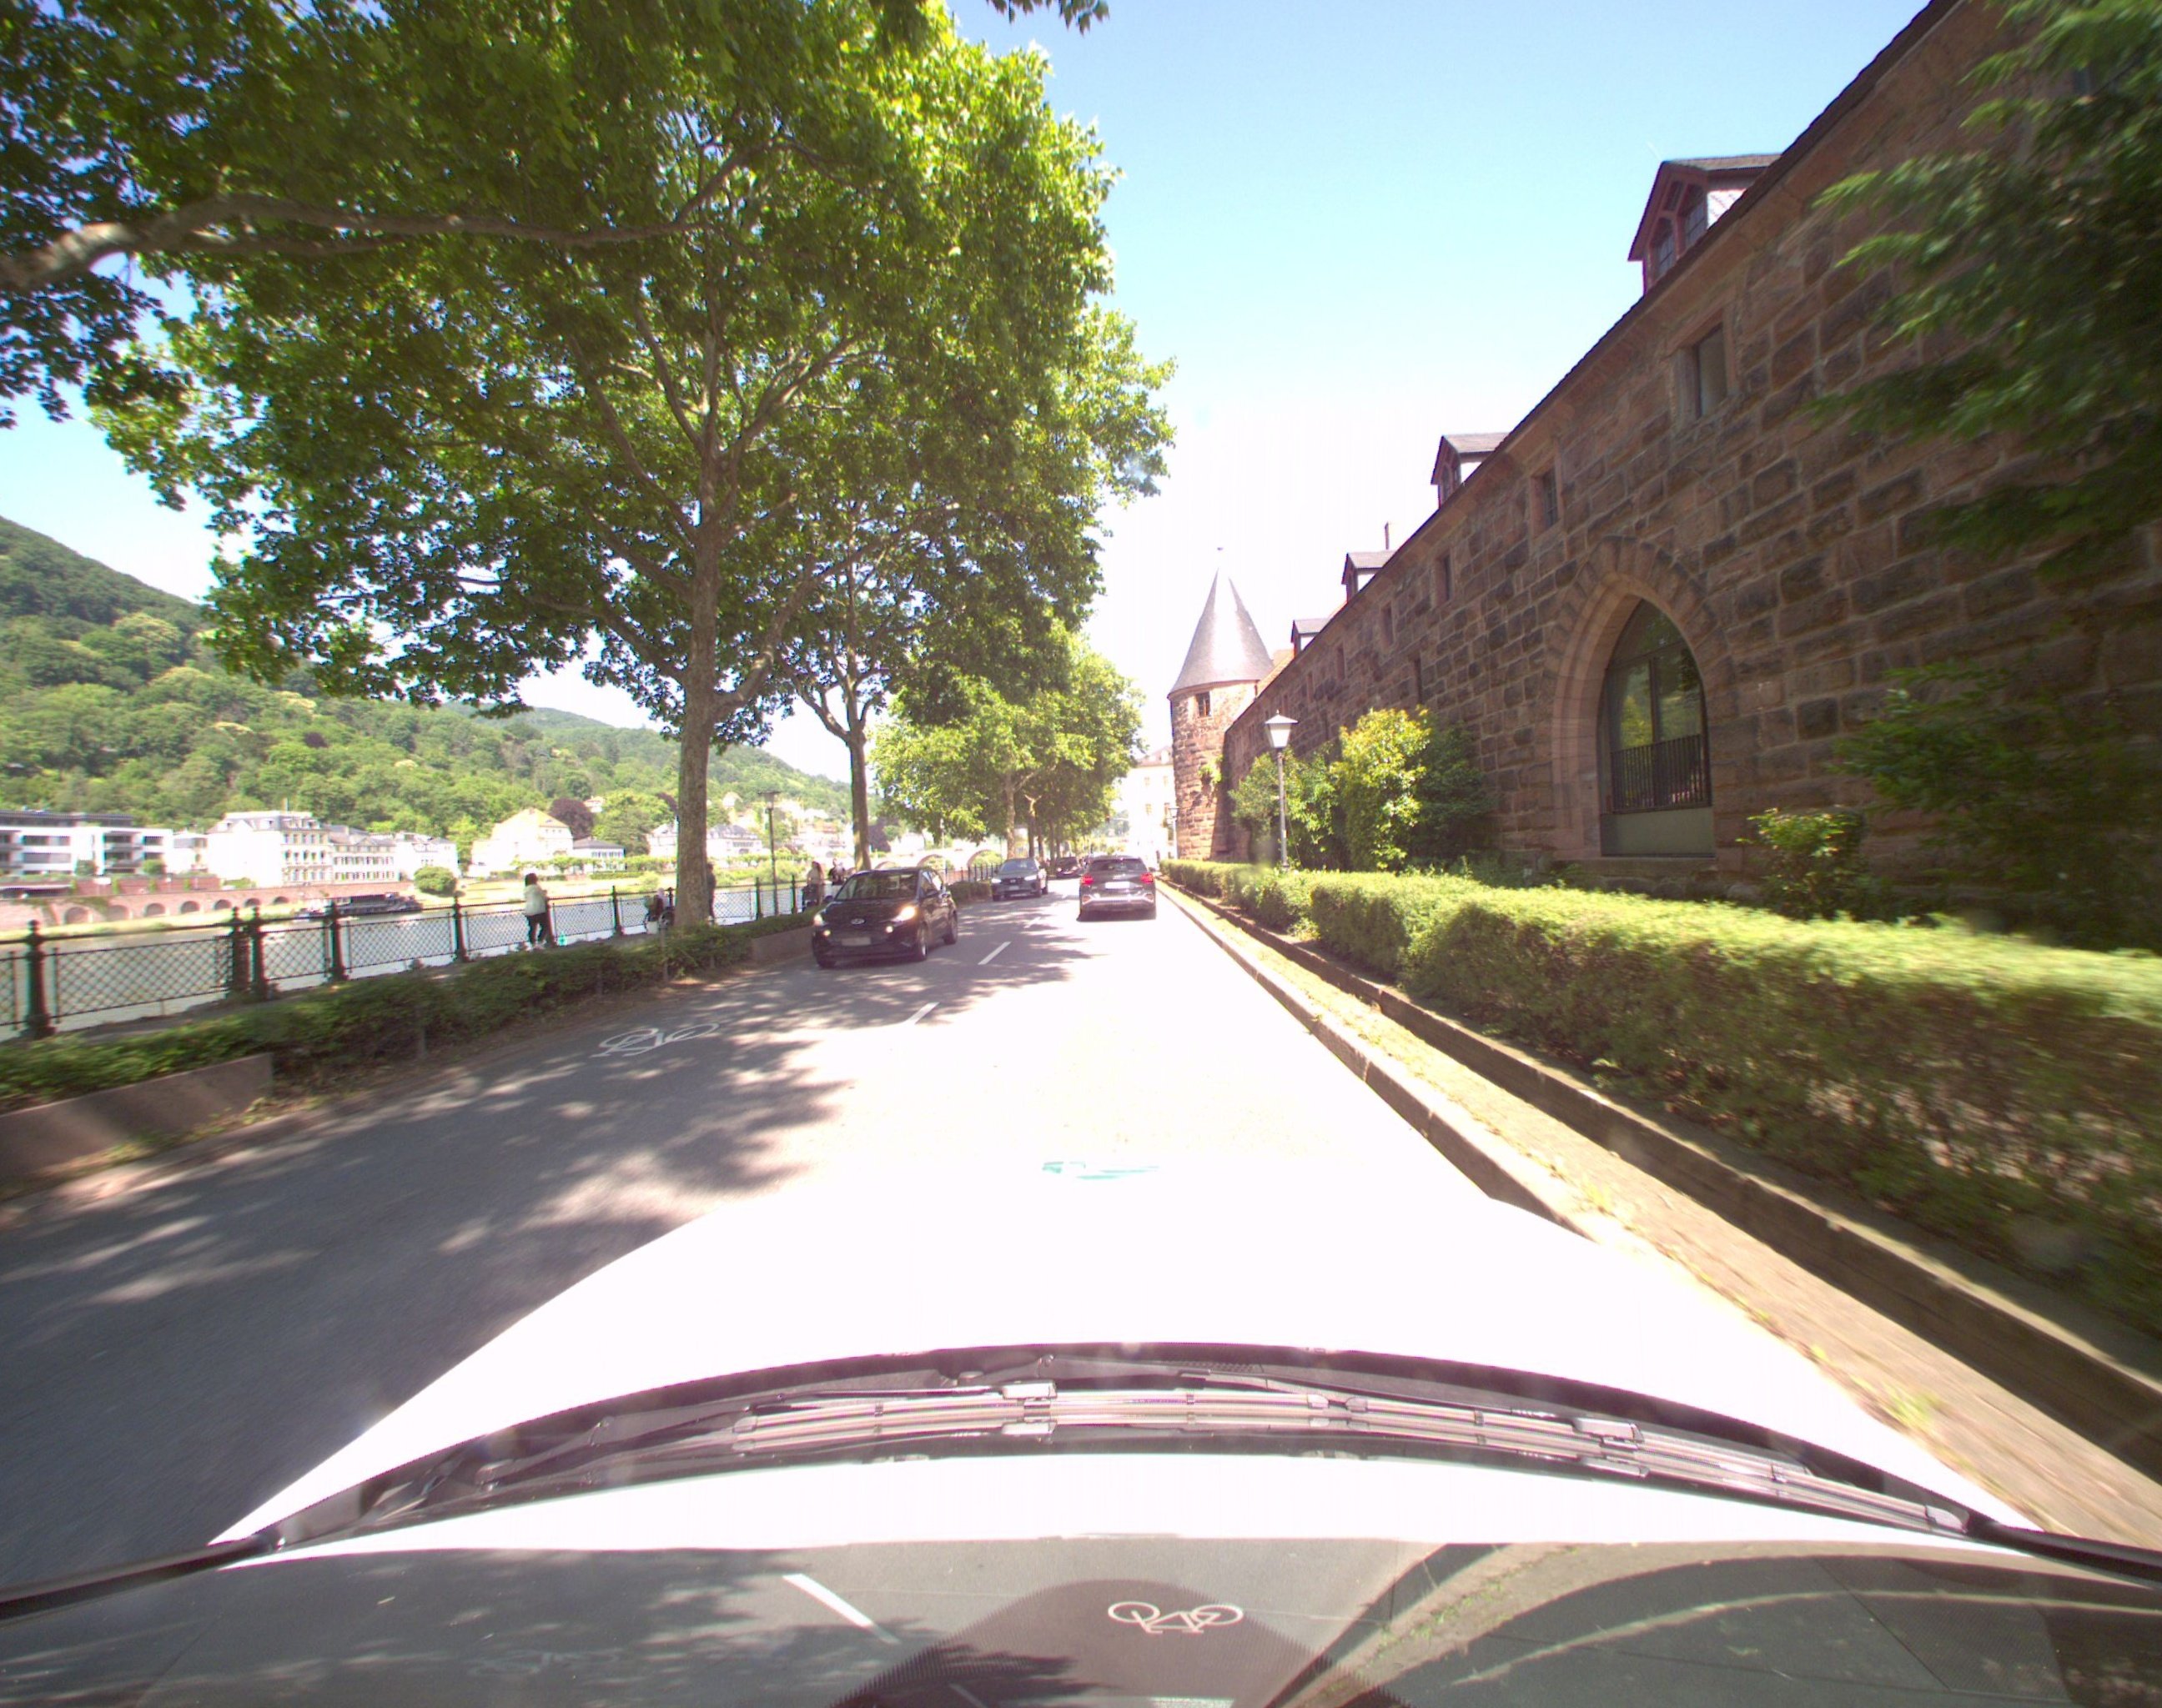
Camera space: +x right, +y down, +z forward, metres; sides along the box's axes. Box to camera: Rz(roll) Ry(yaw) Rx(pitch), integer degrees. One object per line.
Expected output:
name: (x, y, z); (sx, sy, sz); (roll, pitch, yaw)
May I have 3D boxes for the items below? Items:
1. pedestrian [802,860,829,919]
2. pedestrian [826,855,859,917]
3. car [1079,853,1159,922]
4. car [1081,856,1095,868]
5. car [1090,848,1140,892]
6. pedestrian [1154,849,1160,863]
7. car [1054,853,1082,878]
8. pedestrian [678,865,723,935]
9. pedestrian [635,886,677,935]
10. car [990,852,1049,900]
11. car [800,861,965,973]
pedestrian: (-8.150, 1.083, 25.018); (0.514, 1.768, 0.592); (-4, 0, 3)
pedestrian: (-7.525, 1.000, 25.702); (0.638, 1.870, 0.806); (-4, 0, 3)
car: (0.883, 0.738, 19.840); (1.742, 1.494, 3.630); (-1, 0, 1)
car: (0.939, 1.096, 111.239); (1.607, 1.523, 3.480); (-4, 0, 4)
car: (1.408, 0.607, 32.751); (1.794, 1.562, 3.719); (-4, 0, 3)
pedestrian: (8.637, 0.250, 92.614); (0.554, 1.633, 0.661); (-1, -1, 3)
car: (-0.935, 0.825, 61.337); (1.756, 1.647, 4.093); (-4, 0, 3)
pedestrian: (-9.654, 1.156, 20.676); (0.690, 1.717, 0.874); (-1, -1, 1)
pedestrian: (-10.925, 1.433, 20.964); (0.607, 1.177, 0.696); (-4, -1, 3)
car: (-2.434, 0.844, 33.343); (1.870, 1.698, 4.260); (-4, 0, 2)
car: (-3.166, 0.931, 13.747); (1.643, 1.469, 3.781); (-4, 0, 2)
